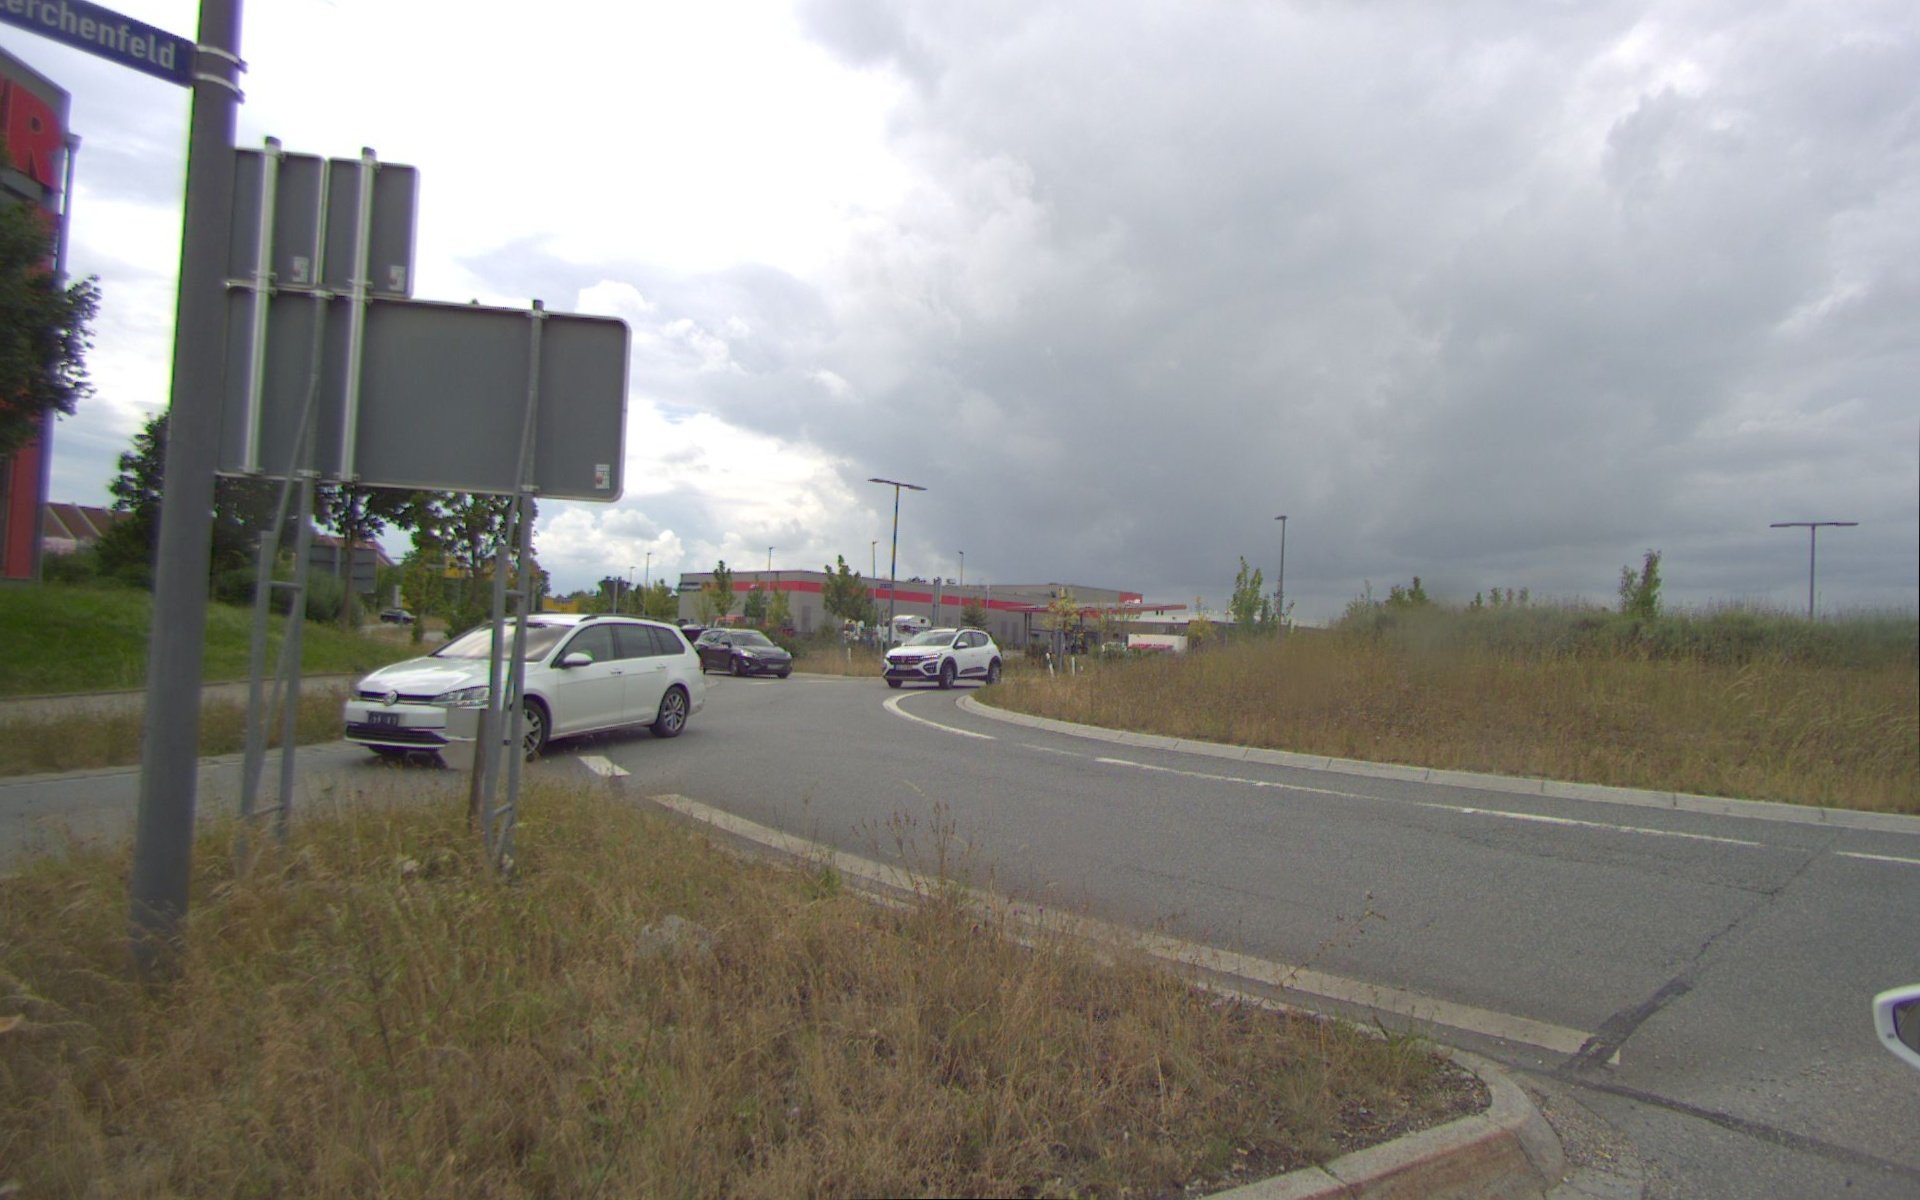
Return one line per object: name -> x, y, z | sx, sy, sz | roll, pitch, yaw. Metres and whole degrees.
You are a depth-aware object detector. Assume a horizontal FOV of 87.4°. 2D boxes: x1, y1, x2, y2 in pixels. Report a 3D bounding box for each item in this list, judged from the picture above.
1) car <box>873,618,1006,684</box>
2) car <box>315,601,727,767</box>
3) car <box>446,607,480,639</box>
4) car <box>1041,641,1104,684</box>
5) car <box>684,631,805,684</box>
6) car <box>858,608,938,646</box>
car -> -0.443, 1.334, 26.294 | 1.702, 1.578, 4.080 | -1, -3, 28
car -> -4.530, 0.842, 11.323 | 1.693, 1.427, 4.647 | 1, -2, 15
car -> -43.511, 1.954, 87.828 | 2.254, 2.418, 5.667 | 6, -2, -29
car -> 4.952, 2.723, 43.864 | 1.960, 1.629, 4.300 | 4, -2, 16
car -> -6.707, 1.764, 31.101 | 3.537, 1.267, 1.671 | 4, -3, 37
car -> -5.638, 2.528, 92.429 | 2.436, 2.856, 7.651 | 3, -3, 43
